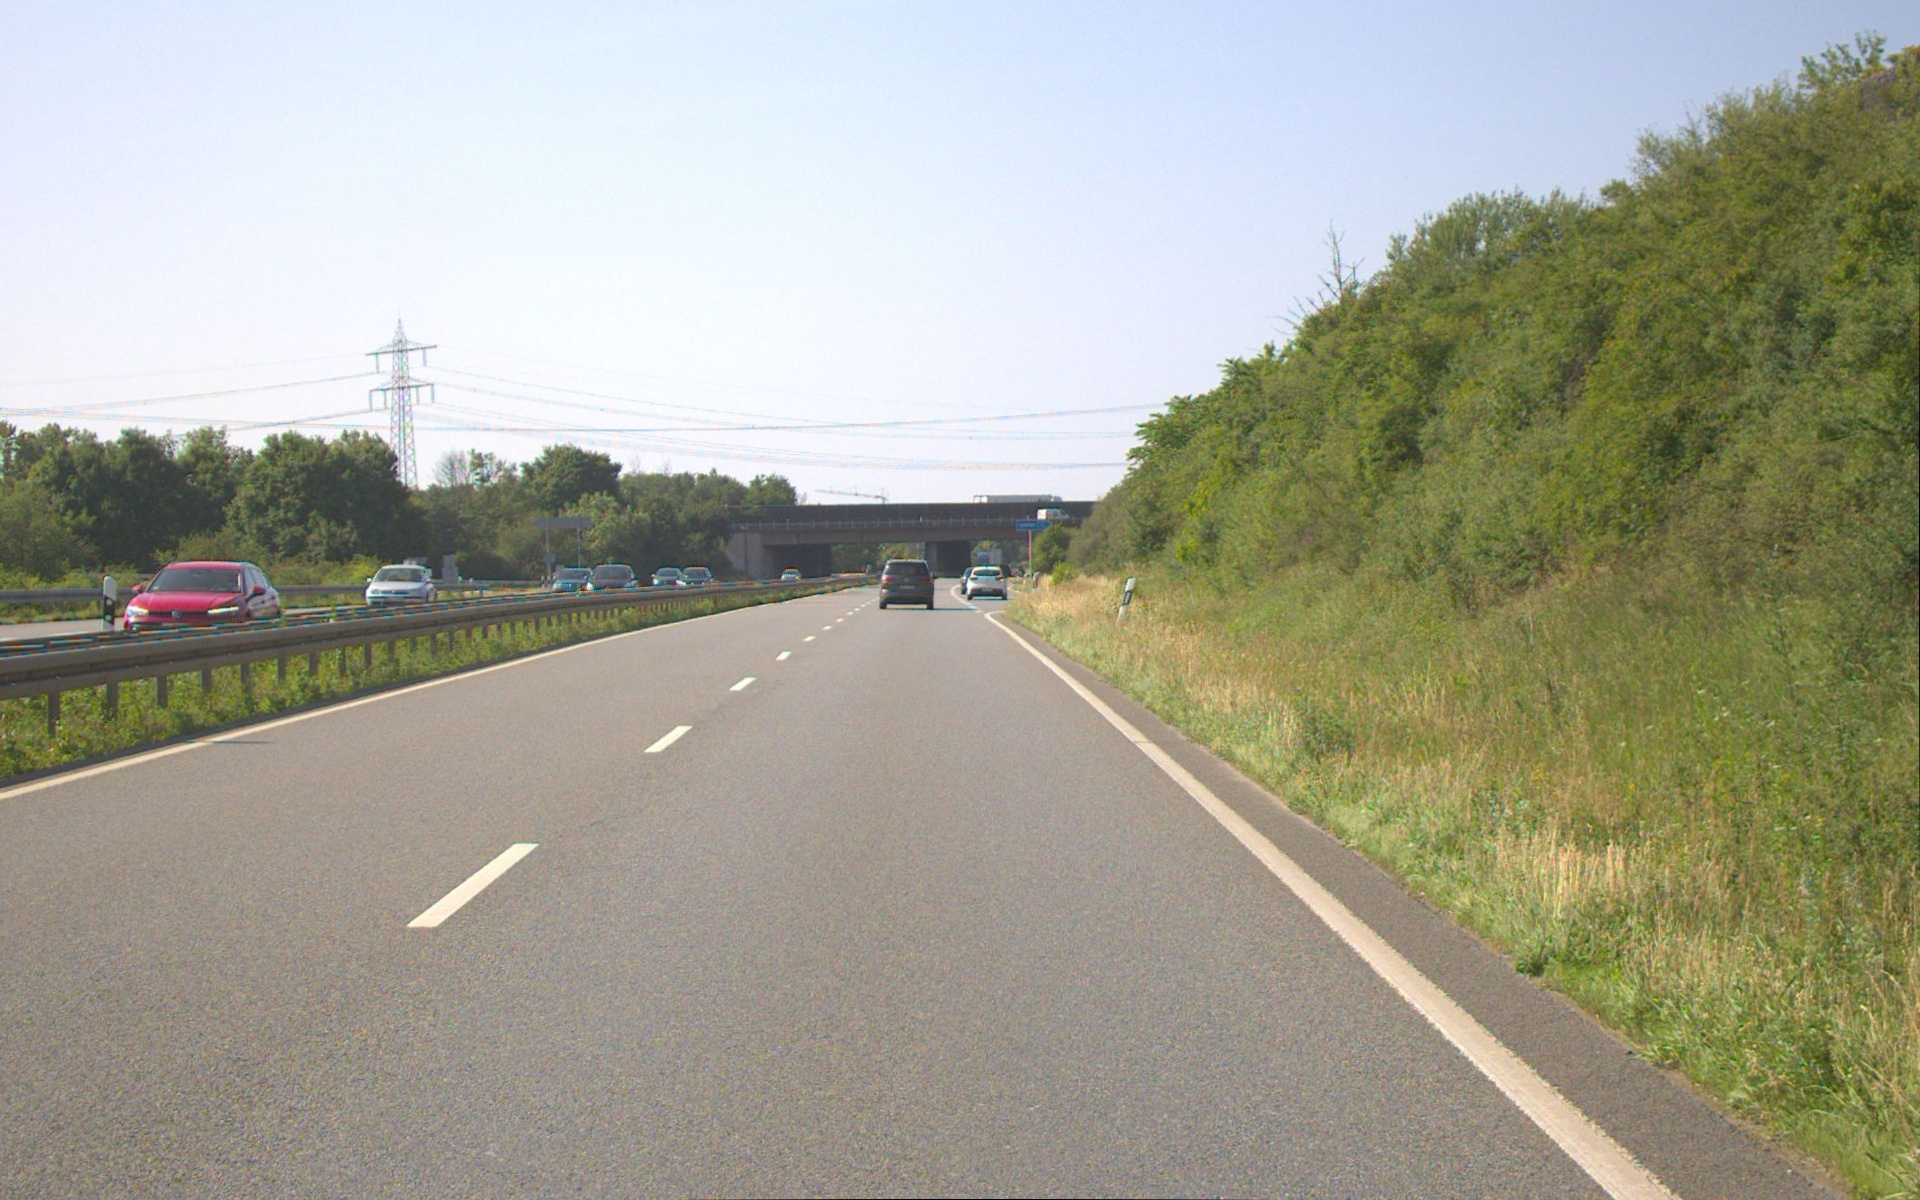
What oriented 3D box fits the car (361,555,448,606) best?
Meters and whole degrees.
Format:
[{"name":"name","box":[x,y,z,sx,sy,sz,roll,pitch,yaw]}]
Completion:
[{"name":"car","box":[-16.217,-0.585,100.597,1.821,1.391,4.415,2,0,-1]}]

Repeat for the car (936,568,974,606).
[{"name":"car","box":[-0.292,-0.737,188.158,1.993,2.007,4.000,2,1,-1]}]

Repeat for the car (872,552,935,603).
[{"name":"car","box":[-1.849,-0.743,112.843,1.850,1.639,4.000,0,0,2]}]

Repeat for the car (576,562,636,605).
[{"name":"car","box":[-12.748,-0.594,123.989,1.712,1.465,4.415,2,0,-1]}]

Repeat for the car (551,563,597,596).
[{"name":"car","box":[-17.131,-0.912,152.806,1.713,1.445,4.324,0,1,-2]}]

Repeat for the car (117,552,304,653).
[{"name":"car","box":[-11.780,0.021,54.337,1.876,1.488,5.095,1,0,-1]}]

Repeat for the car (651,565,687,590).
[{"name":"car","box":[-17.799,-1.377,210.423,1.814,1.468,4.324,2,1,-1]}]

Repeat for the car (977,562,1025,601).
[{"name":"car","box":[1.825,-0.827,151.222,1.796,1.659,3.999,2,1,4]}]
